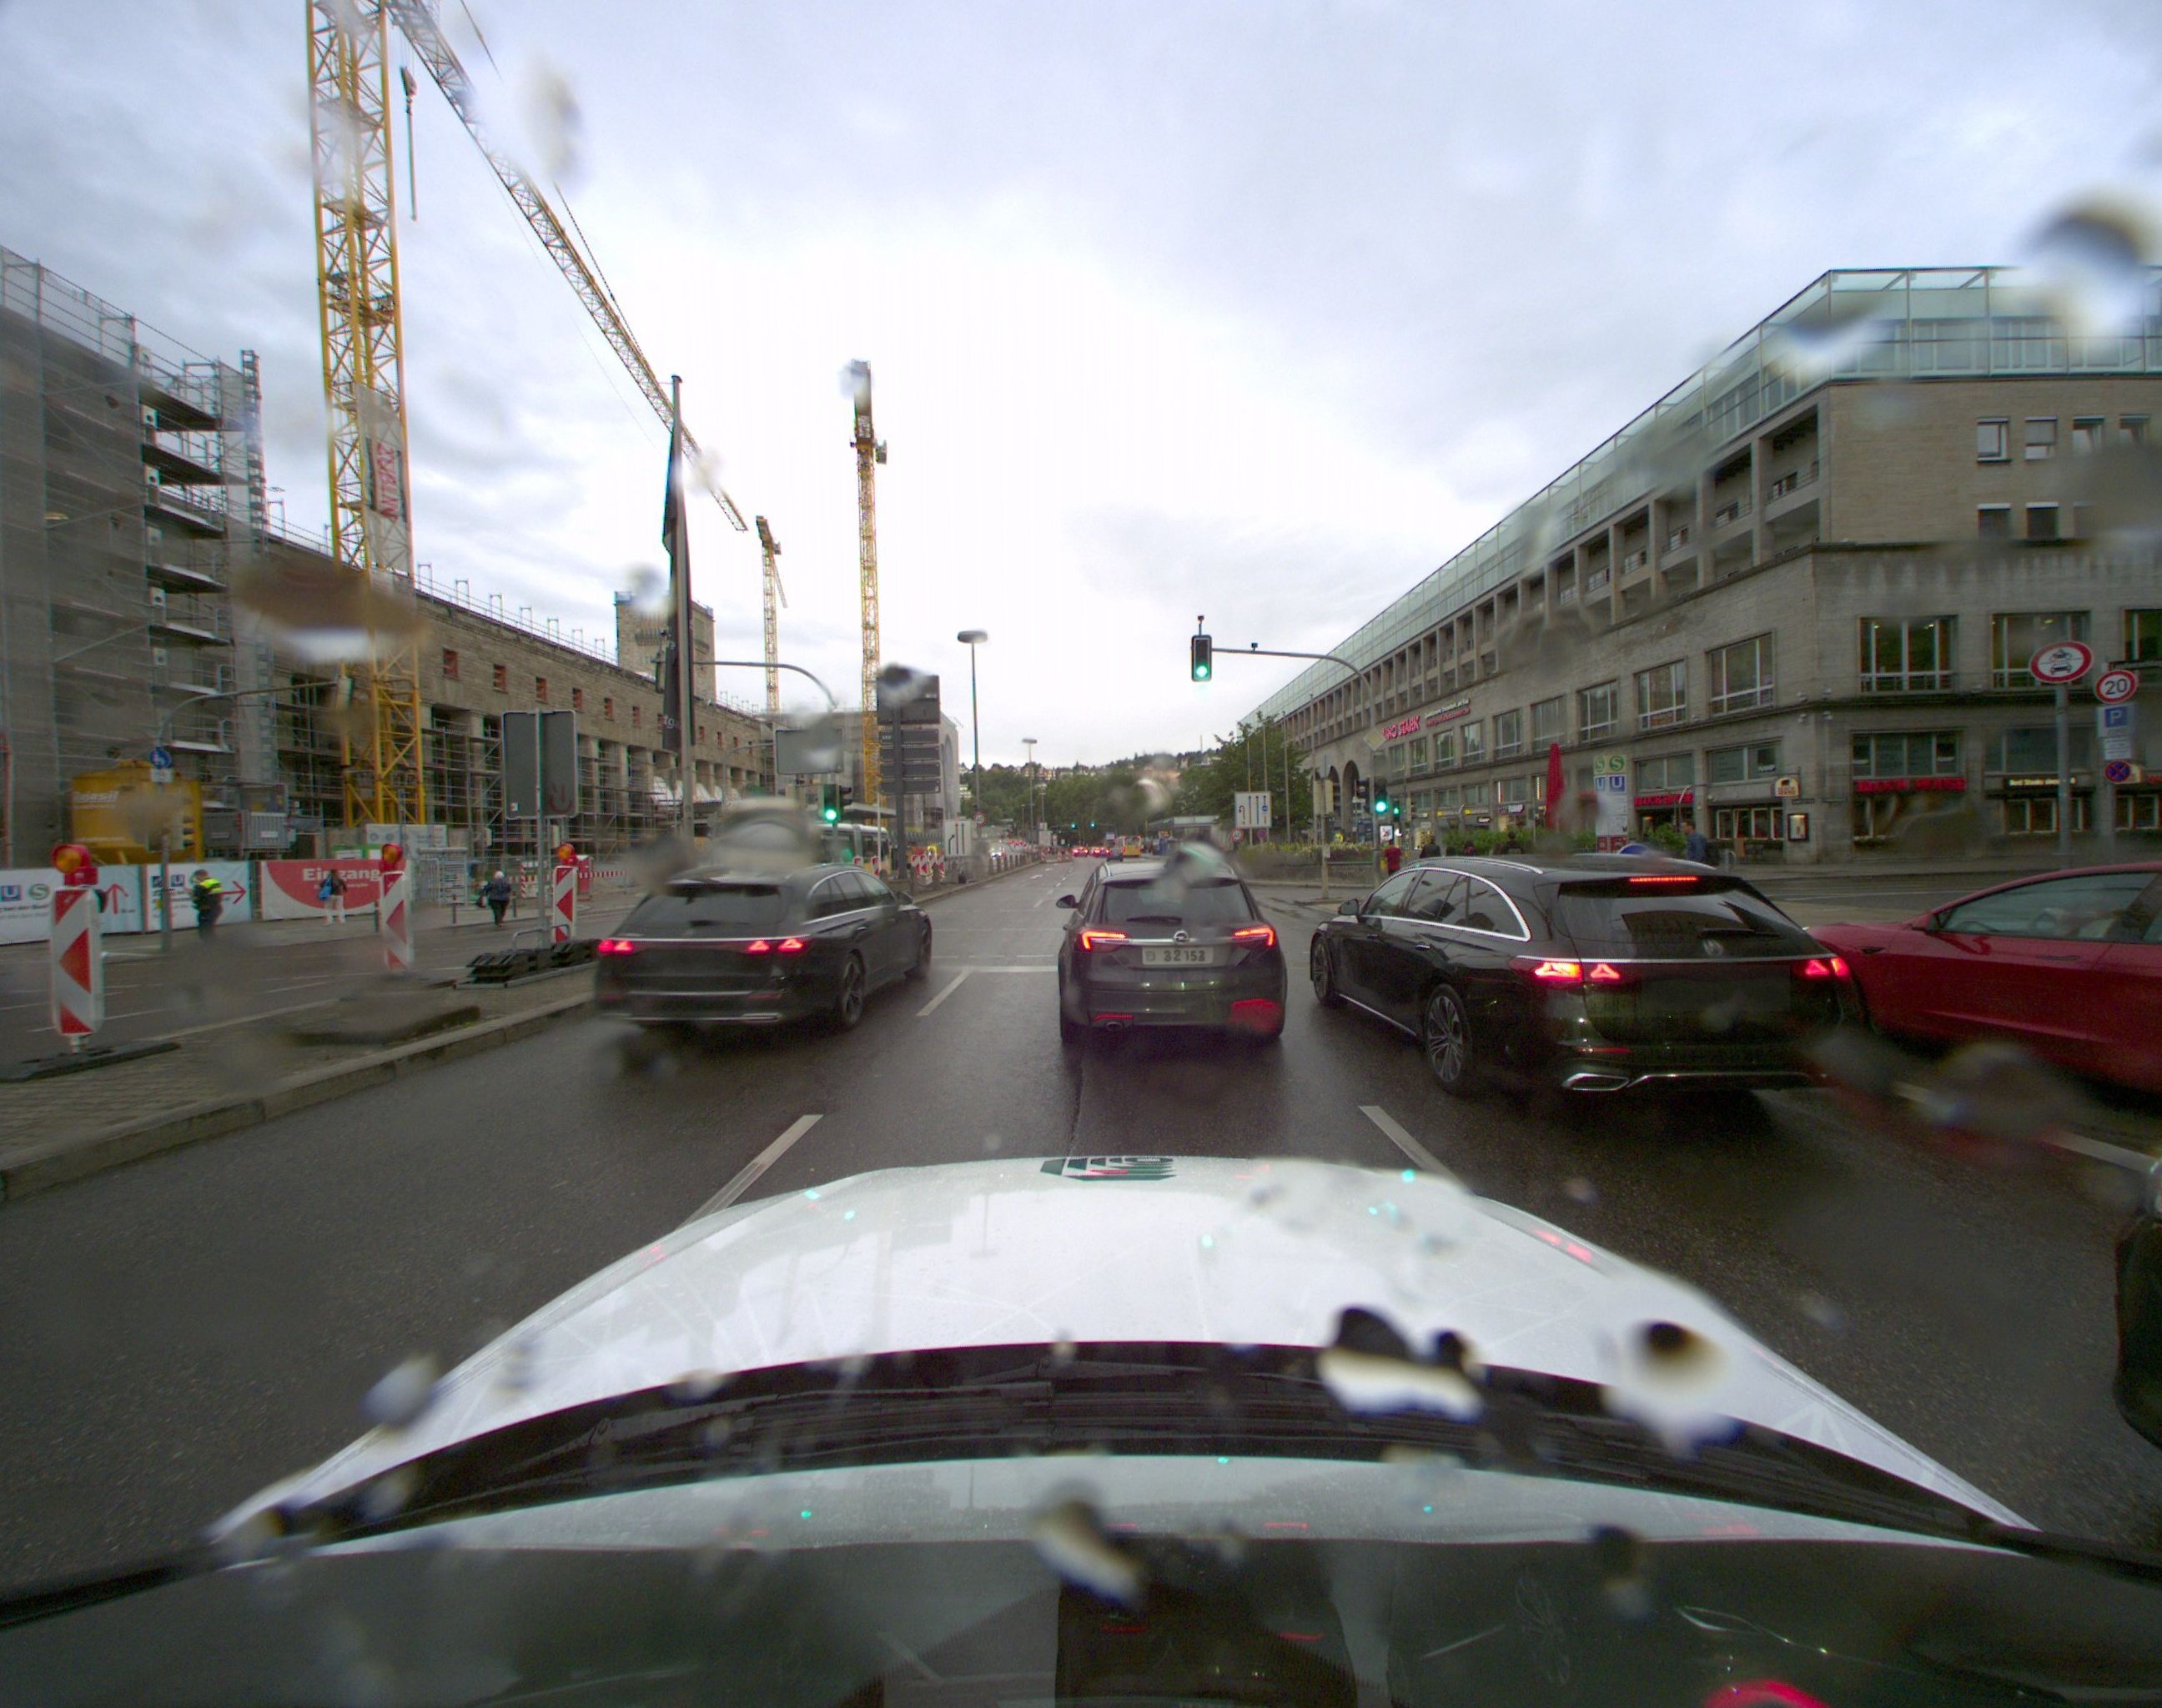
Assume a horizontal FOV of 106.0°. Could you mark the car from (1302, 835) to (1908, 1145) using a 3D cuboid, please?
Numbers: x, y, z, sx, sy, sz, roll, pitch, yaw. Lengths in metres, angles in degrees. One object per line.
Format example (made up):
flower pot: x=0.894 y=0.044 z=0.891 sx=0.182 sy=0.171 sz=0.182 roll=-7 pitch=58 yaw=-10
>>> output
car: x=3.174 y=0.674 z=6.276 sx=1.787 sy=1.501 sz=4.630 roll=0 pitch=0 yaw=1

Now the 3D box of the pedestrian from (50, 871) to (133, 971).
pedestrian: x=-19.344 y=1.286 z=15.933 sx=0.798 sy=1.890 sz=0.618 roll=0 pitch=-1 yaw=-7

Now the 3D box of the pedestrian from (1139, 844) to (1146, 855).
pedestrian: x=11.710 y=-0.893 z=154.799 sx=1.194 sy=2.149 sz=1.229 roll=0 pitch=-1 yaw=3

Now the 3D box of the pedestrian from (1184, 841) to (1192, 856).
pedestrian: x=12.376 y=-0.625 z=93.962 sx=0.761 sy=1.690 sz=0.824 roll=0 pitch=-1 yaw=-3

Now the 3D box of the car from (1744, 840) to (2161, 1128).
car: x=6.508 y=0.666 z=4.636 sx=1.868 sy=1.486 sz=4.527 roll=0 pitch=0 yaw=1

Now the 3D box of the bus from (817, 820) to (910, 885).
bus: x=-13.033 y=-0.053 z=49.965 sx=2.658 sy=3.602 sz=10.215 roll=0 pitch=0 yaw=2

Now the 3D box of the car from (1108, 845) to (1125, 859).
car: x=3.829 y=-0.207 z=88.316 sx=1.838 sy=1.398 sz=3.668 roll=0 pitch=0 yaw=2

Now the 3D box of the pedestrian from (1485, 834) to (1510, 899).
pedestrian: x=11.550 y=0.340 z=22.584 sx=0.477 sy=1.751 sz=0.670 roll=-4 pitch=-1 yaw=30

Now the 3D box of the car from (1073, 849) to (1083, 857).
car: x=-0.576 y=-0.228 z=152.104 sx=1.752 sy=1.398 sz=3.565 roll=0 pitch=0 yaw=2

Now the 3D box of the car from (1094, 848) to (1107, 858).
car: x=2.864 y=-0.140 z=118.342 sx=1.748 sy=1.398 sz=4.647 roll=0 pitch=0 yaw=-1

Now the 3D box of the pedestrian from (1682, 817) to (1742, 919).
pedestrian: x=11.289 y=0.243 z=14.573 sx=0.770 sy=1.756 sz=0.507 roll=-1 pitch=-1 yaw=45

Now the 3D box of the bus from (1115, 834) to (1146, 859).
bus: x=7.209 y=-1.040 z=120.796 sx=4.158 sy=3.469 sz=14.659 roll=0 pitch=0 yaw=2

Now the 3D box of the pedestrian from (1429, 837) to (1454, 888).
pedestrian: x=10.175 y=0.239 z=22.991 sx=0.625 sy=1.428 sz=0.492 roll=-1 pitch=-1 yaw=24

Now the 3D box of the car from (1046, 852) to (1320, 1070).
car: x=0.749 y=0.747 z=7.595 sx=1.868 sy=1.486 sz=4.001 roll=0 pitch=0 yaw=1

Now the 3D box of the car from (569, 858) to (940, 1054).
car: x=-2.859 y=0.779 z=8.418 sx=1.848 sy=1.469 sz=4.589 roll=0 pitch=0 yaw=2

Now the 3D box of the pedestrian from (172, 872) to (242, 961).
pedestrian: x=-18.617 y=1.302 z=17.366 sx=0.576 sy=1.836 sz=0.820 roll=0 pitch=-1 yaw=2

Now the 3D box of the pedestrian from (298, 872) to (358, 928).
pedestrian: x=-22.067 y=1.333 z=23.882 sx=0.912 sy=1.563 sz=0.899 roll=0 pitch=-1 yaw=-2

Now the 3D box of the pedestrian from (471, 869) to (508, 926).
pedestrian: x=-16.811 y=1.216 z=23.151 sx=0.791 sy=1.561 sz=0.865 roll=0 pitch=-1 yaw=-41

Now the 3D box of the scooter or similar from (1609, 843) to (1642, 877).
scooter or similar: x=19.362 y=0.209 z=28.979 sx=0.290 sy=1.189 sz=1.014 roll=0 pitch=-1 yaw=-17

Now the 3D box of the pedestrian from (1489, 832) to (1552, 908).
pedestrian: x=10.599 y=0.374 z=19.662 sx=1.093 sy=1.751 sz=0.653 roll=-3 pitch=-1 yaw=-1

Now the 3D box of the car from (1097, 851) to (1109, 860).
car: x=3.511 y=0.257 z=131.215 sx=1.747 sy=1.398 sz=4.402 roll=0 pitch=0 yaw=1

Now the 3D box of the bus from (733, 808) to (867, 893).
bus: x=-13.302 y=-0.109 z=39.778 sx=2.658 sy=3.602 sz=10.243 roll=0 pitch=0 yaw=2

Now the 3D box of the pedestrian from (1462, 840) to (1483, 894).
pedestrian: x=10.985 y=0.363 z=22.842 sx=0.460 sy=1.517 sz=0.453 roll=-1 pitch=-1 yaw=35

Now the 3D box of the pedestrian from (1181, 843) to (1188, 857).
pedestrian: x=12.121 y=-0.445 z=95.263 sx=0.761 sy=1.690 sz=0.824 roll=0 pitch=-1 yaw=-3

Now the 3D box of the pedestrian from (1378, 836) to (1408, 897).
pedestrian: x=9.131 y=0.364 z=23.821 sx=0.563 sy=1.752 sz=0.684 roll=-1 pitch=-1 yaw=44

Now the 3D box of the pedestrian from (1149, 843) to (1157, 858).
pedestrian: x=11.484 y=-0.580 z=130.532 sx=1.194 sy=2.435 sz=1.229 roll=0 pitch=-1 yaw=3

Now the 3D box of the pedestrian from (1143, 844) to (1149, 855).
pedestrian: x=12.590 y=-0.863 z=157.898 sx=1.194 sy=2.149 sz=1.229 roll=0 pitch=-1 yaw=3

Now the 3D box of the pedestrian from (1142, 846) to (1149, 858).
pedestrian: x=11.457 y=-0.359 z=144.466 sx=1.194 sy=2.149 sz=1.229 roll=0 pitch=-1 yaw=3

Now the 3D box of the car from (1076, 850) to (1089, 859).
car: x=0.225 y=0.121 z=125.174 sx=1.839 sy=1.398 sz=3.565 roll=0 pitch=0 yaw=2

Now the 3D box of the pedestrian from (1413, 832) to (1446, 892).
pedestrian: x=10.119 y=0.239 z=23.641 sx=0.753 sy=1.717 sz=0.466 roll=0 pitch=-1 yaw=-2

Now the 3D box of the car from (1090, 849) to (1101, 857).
car: x=2.563 y=-0.155 z=142.972 sx=1.839 sy=1.398 sz=3.565 roll=0 pitch=0 yaw=2
